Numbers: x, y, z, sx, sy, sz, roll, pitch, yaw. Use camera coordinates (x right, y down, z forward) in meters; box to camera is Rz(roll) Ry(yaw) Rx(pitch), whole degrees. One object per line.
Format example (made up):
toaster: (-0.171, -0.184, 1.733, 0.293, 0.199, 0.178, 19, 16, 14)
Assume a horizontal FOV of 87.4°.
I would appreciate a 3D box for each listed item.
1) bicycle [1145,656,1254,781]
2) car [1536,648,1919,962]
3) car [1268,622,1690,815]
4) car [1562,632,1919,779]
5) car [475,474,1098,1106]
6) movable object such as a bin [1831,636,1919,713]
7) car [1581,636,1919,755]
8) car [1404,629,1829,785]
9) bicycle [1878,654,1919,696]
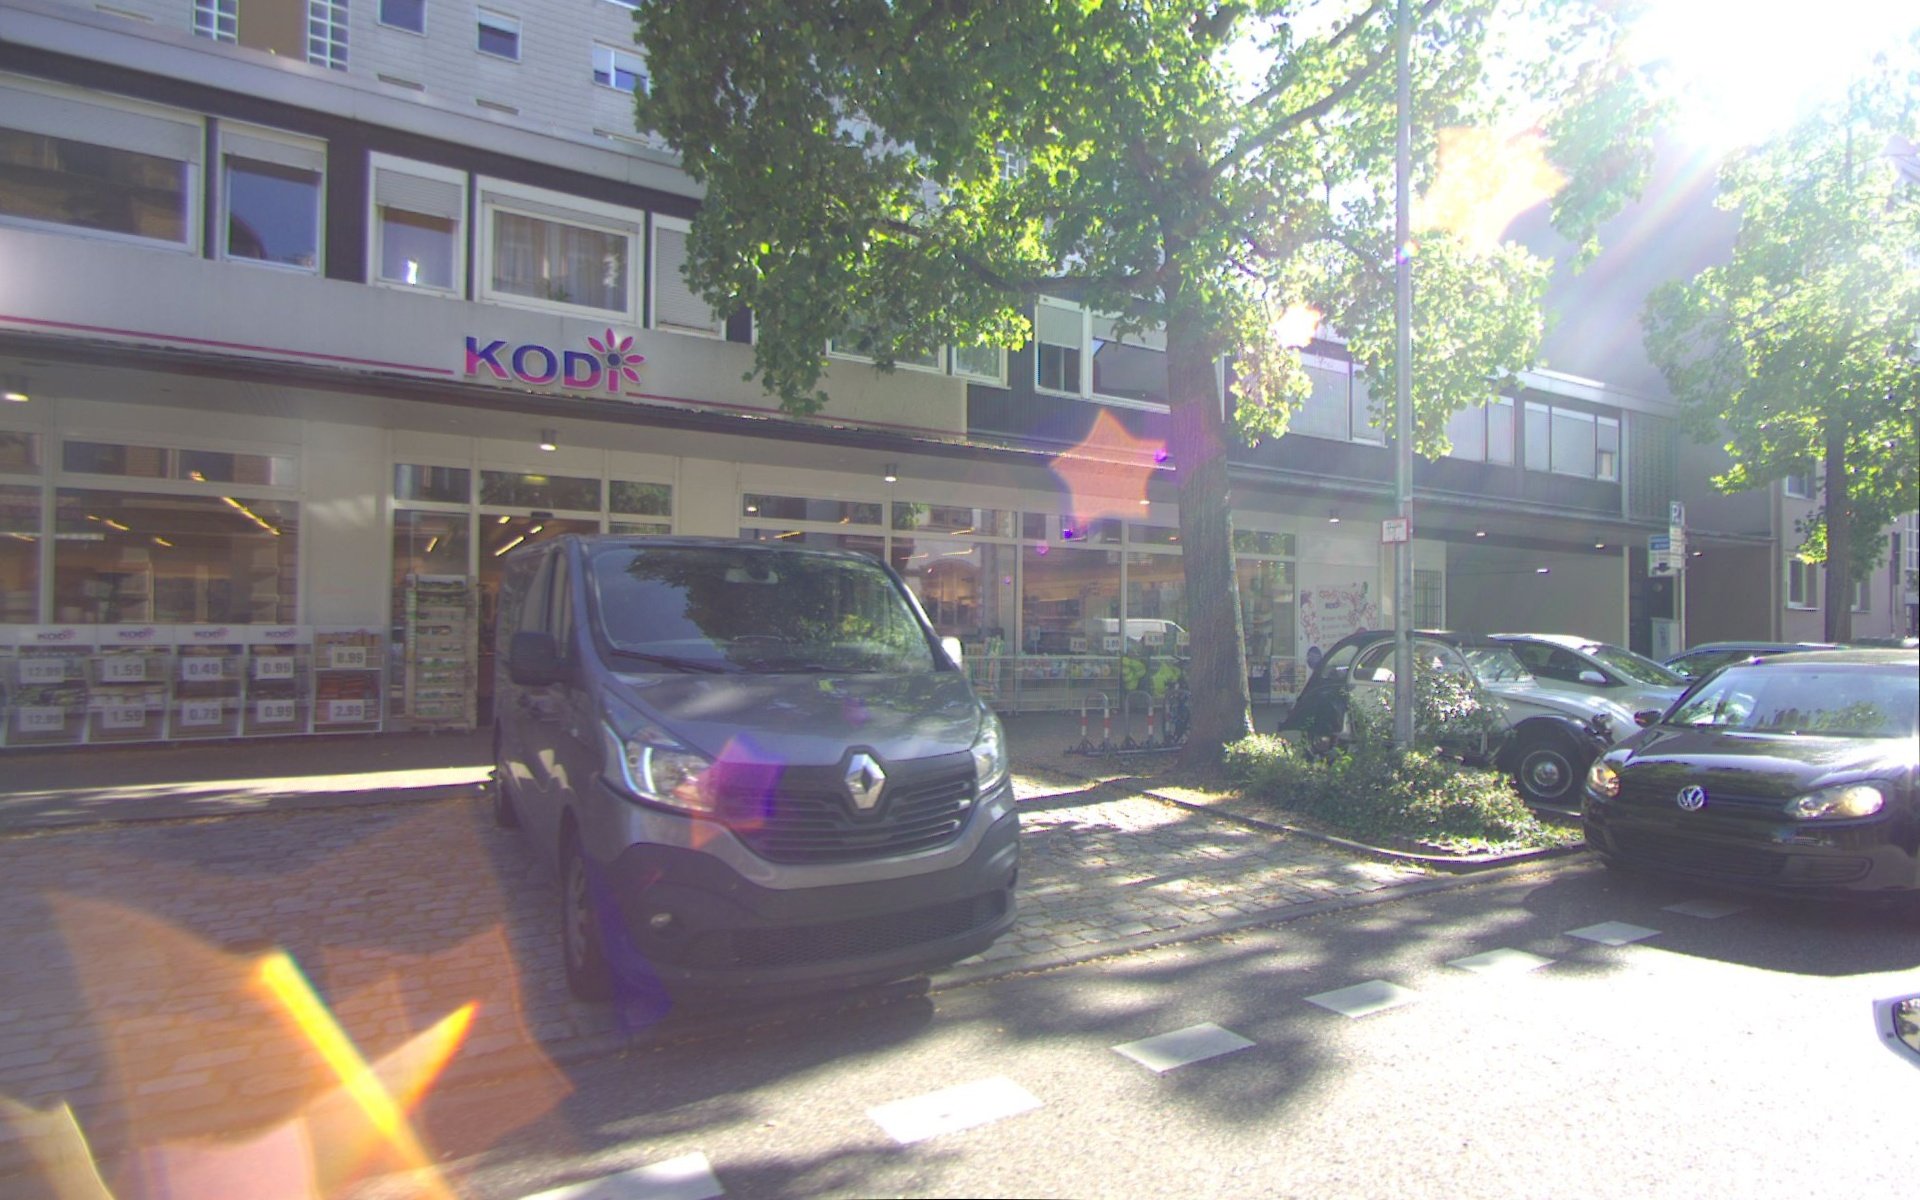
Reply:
bicycle: (2.661, 1.283, 11.366, 0.616, 1.200, 1.986, 1, -1, -4)
car: (5.702, 1.041, 6.456, 3.914, 1.457, 1.755, 2, -3, -30)
car: (5.133, 1.049, 10.408, 1.664, 1.572, 3.582, 1, -1, -29)
car: (10.407, 1.223, 12.940, 1.740, 1.479, 4.288, 1, 0, -27)
car: (-1.585, 0.639, 5.984, 1.991, 2.000, 5.268, 1, -1, -30)
movable object such as a bin: (18.575, 1.466, 20.212, 1.060, 1.469, 1.228, 1, -2, -22)
car: (12.185, 1.335, 15.423, 1.624, 1.452, 4.285, 1, -1, -29)
car: (7.722, 1.135, 12.198, 1.793, 1.483, 3.964, 1, -1, -32)
bicycle: (26.077, 2.051, 27.729, 1.881, 1.116, 0.552, 1, -1, -31)
